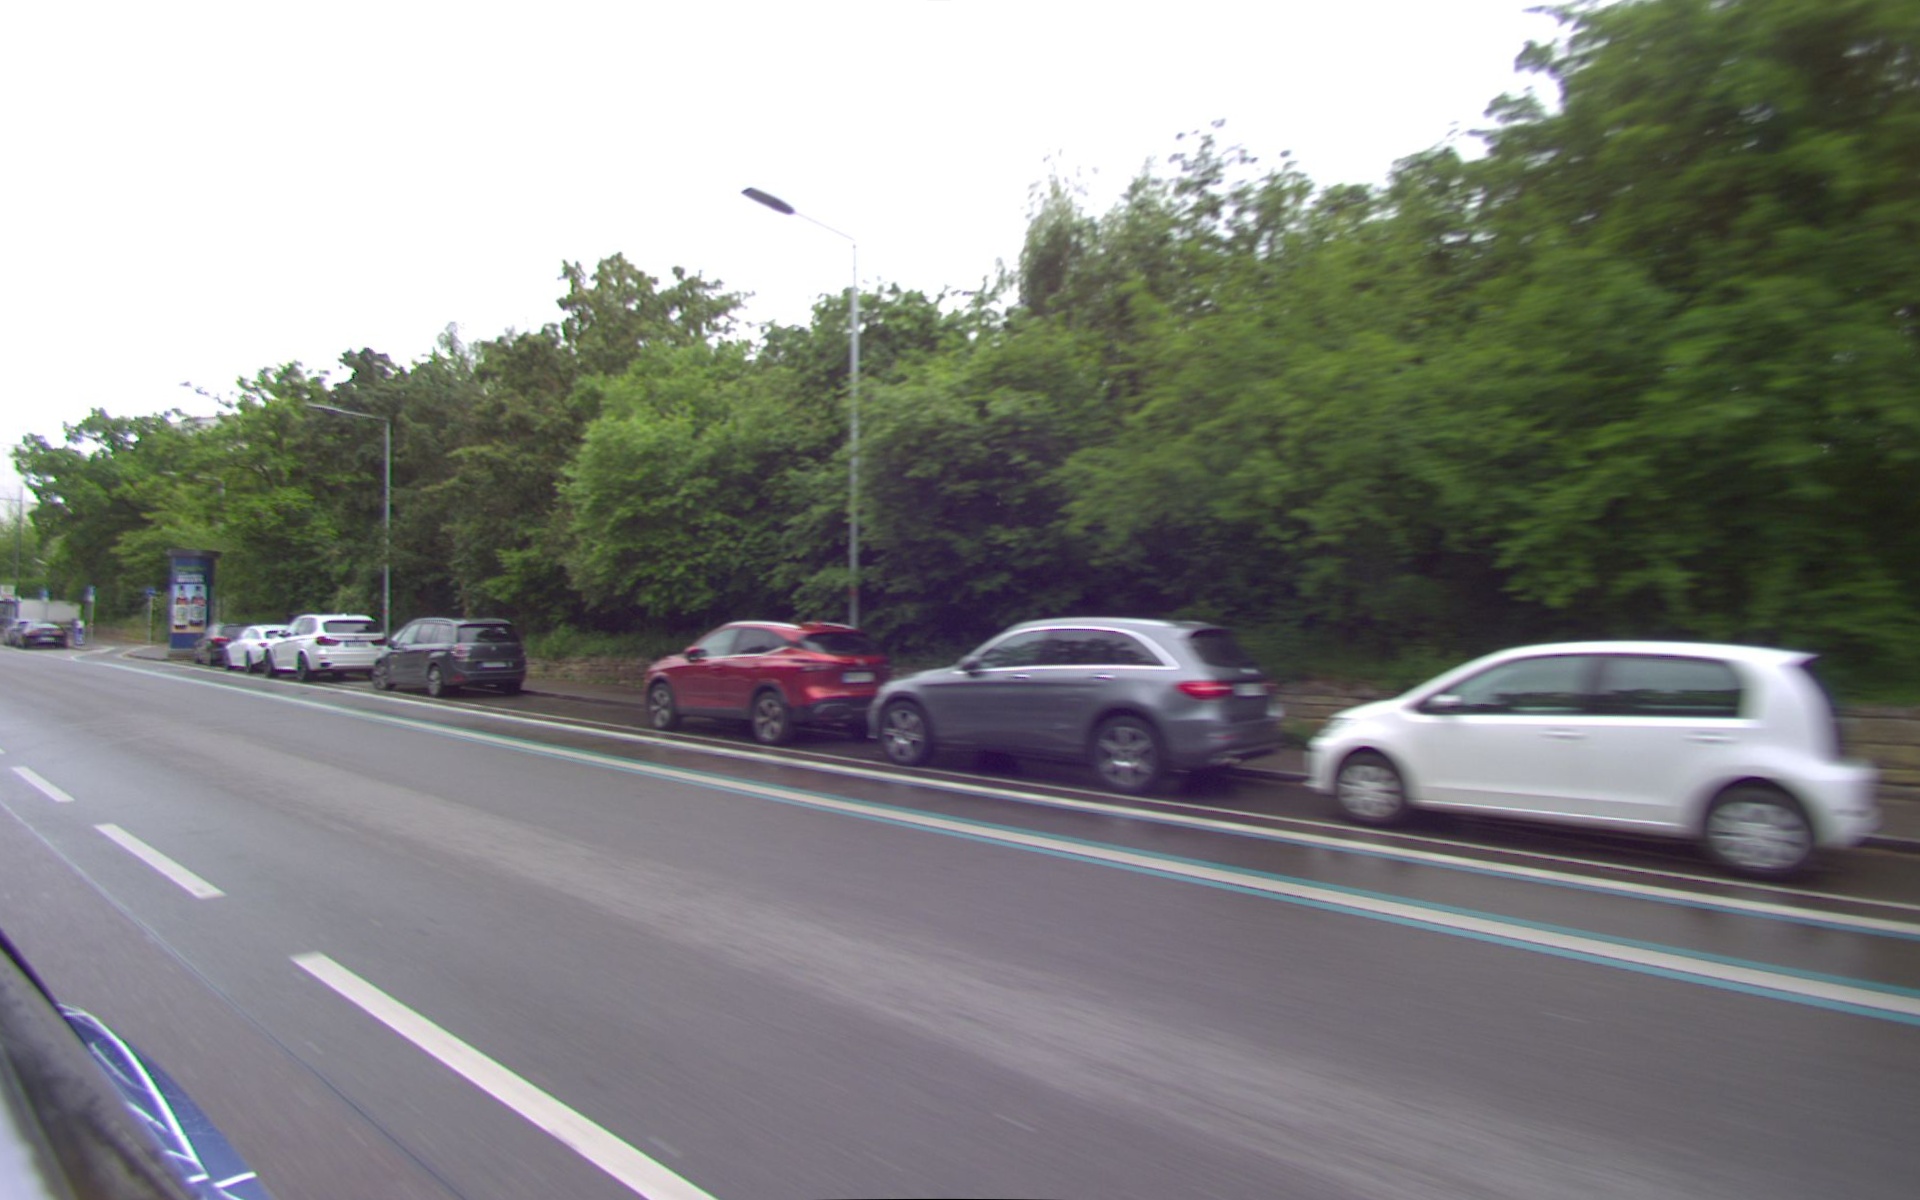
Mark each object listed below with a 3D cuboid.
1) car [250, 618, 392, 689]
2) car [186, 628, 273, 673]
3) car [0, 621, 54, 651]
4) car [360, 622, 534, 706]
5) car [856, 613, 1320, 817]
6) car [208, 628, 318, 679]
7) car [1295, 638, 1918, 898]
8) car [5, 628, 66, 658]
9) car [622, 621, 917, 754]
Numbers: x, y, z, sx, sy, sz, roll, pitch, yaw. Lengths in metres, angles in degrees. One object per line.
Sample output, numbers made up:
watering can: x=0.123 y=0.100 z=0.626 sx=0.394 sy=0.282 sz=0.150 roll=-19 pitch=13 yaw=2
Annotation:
car: x=-17.586 y=1.400 z=27.743 sx=4.958 sy=1.779 sz=1.972 roll=-1 pitch=-2 yaw=41
car: x=-25.832 y=1.727 z=35.712 sx=4.588 sy=1.456 sz=1.729 roll=-2 pitch=-2 yaw=44
car: x=-53.086 y=2.007 z=57.497 sx=4.926 sy=1.601 sz=1.822 roll=0 pitch=0 yaw=41
car: x=-11.386 y=1.334 z=22.335 sx=4.566 sy=1.661 sz=1.714 roll=-1 pitch=-2 yaw=39
car: x=1.193 y=1.043 z=10.823 sx=4.612 sy=1.713 sz=1.973 roll=-2 pitch=-2 yaw=40
car: x=-21.827 y=1.632 z=31.608 sx=4.705 sy=1.471 sz=1.700 roll=-2 pitch=-2 yaw=41
car: x=4.609 y=1.026 z=7.586 sx=3.656 sy=1.460 sz=1.600 roll=-2 pitch=-3 yaw=43
car: x=-48.678 y=2.231 z=53.263 sx=4.781 sy=1.425 sz=1.886 roll=0 pitch=0 yaw=41
car: x=-2.874 y=1.143 z=14.652 sx=4.489 sy=1.629 sz=1.898 roll=-2 pitch=-3 yaw=43
